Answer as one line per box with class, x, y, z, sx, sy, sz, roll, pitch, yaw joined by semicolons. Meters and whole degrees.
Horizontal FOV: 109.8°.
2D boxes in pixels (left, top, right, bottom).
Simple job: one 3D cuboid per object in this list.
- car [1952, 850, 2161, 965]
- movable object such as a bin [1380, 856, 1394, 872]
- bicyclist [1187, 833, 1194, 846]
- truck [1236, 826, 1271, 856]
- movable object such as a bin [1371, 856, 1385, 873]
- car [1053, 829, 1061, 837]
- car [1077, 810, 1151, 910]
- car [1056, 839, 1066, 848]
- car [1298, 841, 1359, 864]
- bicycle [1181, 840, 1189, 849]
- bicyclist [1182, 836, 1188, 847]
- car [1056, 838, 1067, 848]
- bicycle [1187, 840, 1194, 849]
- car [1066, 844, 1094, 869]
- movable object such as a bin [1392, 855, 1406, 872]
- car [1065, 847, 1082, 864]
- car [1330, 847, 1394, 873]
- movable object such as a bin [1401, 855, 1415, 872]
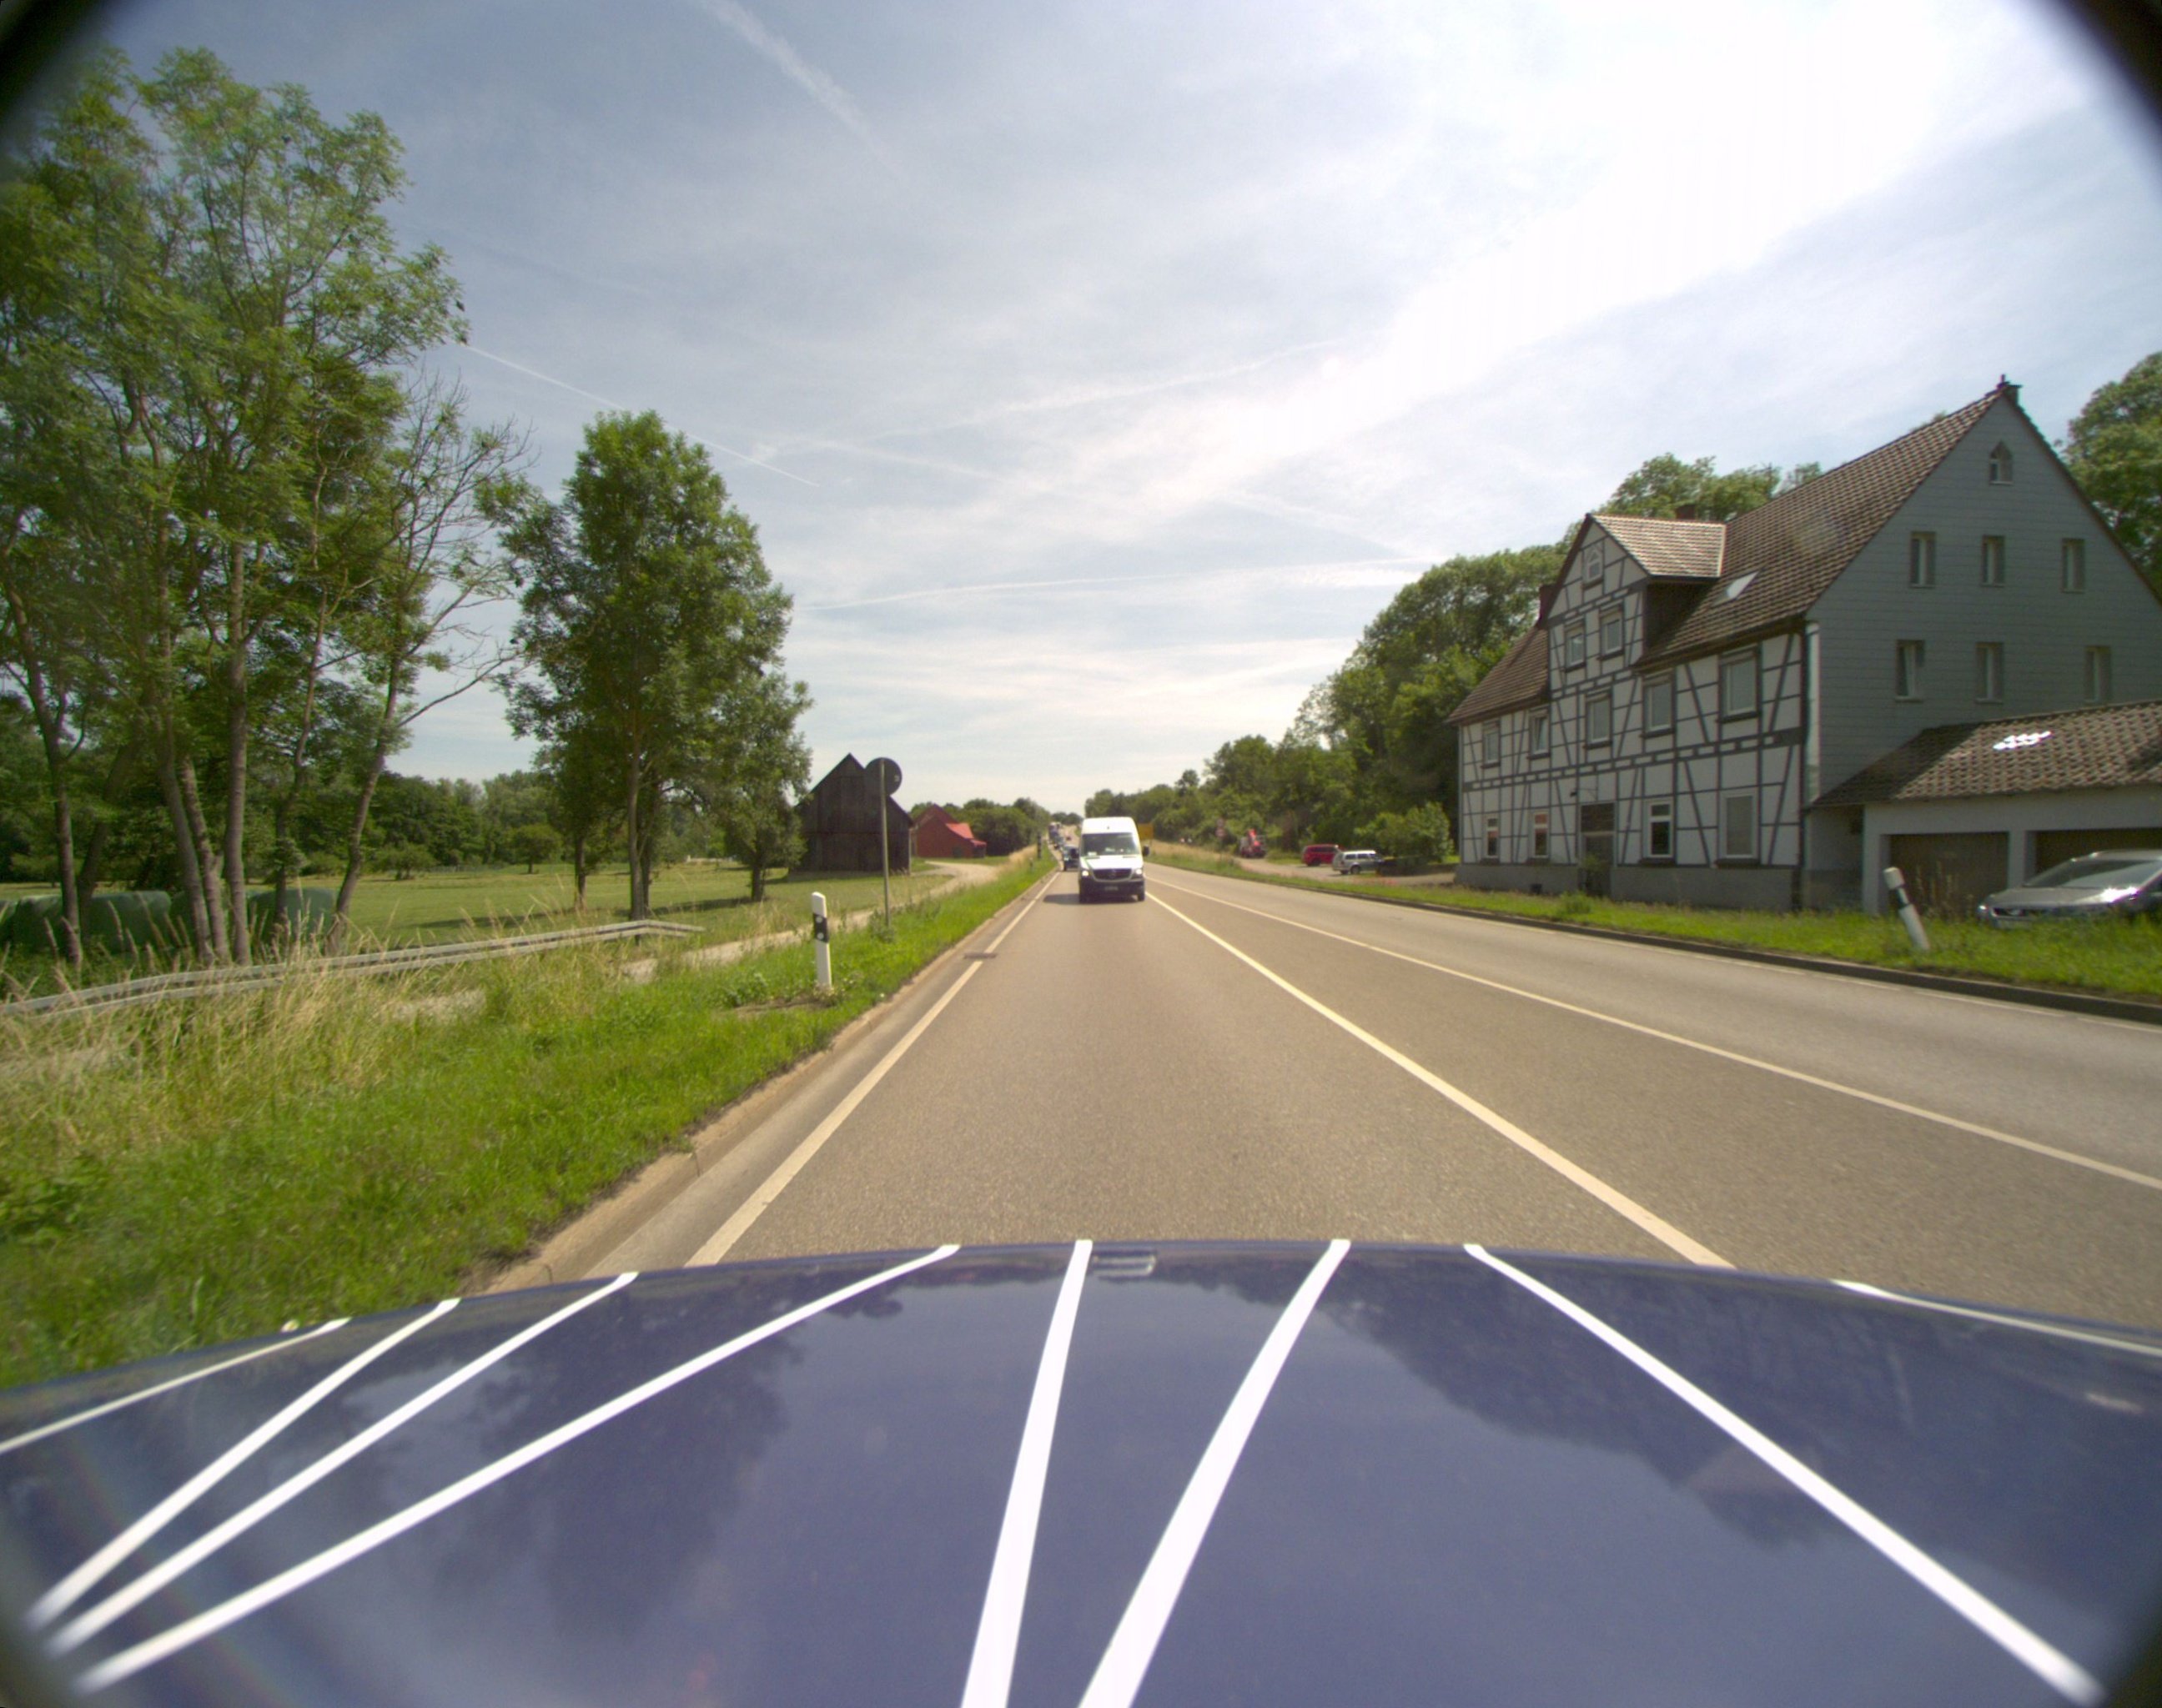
car;18.029;0.813;12.855;4.677;1.710;1.861;-2;-1;-4
movable object such as a bin;18.379;0.594;45.644;0.505;0.964;0.654;-2;3;-8
bicyclist;14.987;-2.032;103.994;0.750;1.705;0.936;-2;2;2
truck;17.886;-1.392;79.065;2.031;2.947;6.771;-2;2;1
movable object such as a bin;17.820;0.632;45.596;0.505;0.931;0.654;-2;3;-8
car;-6.849;-5.998;218.200;1.998;2.166;3.999;-2;1;0
car;0.900;0.118;23.461;1.961;2.656;5.679;-1;1;0
car;-3.820;-1.997;146.354;1.849;1.693;4.240;-1;2;-2
car;18.935;-0.146;58.172;4.037;1.609;1.832;-2;2;1
bicycle;14.737;-1.383;107.632;0.750;1.206;2.104;-2;2;0
bicyclist;14.714;-1.808;107.580;0.750;1.586;0.936;-2;2;0
car;-3.289;-1.914;129.990;1.849;1.693;4.240;-1;2;-2
bicycle;15.012;-1.295;103.996;0.750;1.174;2.104;-2;2;2
car;-0.061;0.173;53.618;1.848;1.692;4.243;0;0;0
movable object such as a bin;19.098;0.586;45.684;0.505;0.966;0.654;-2;3;-8
car;-0.829;0.131;85.240;1.848;1.693;4.240;-1;2;-1
car;17.786;0.356;48.141;3.387;1.457;1.609;-2;1;-6
movable object such as a bin;19.665;0.581;45.762;0.505;0.971;0.654;-2;3;-8
